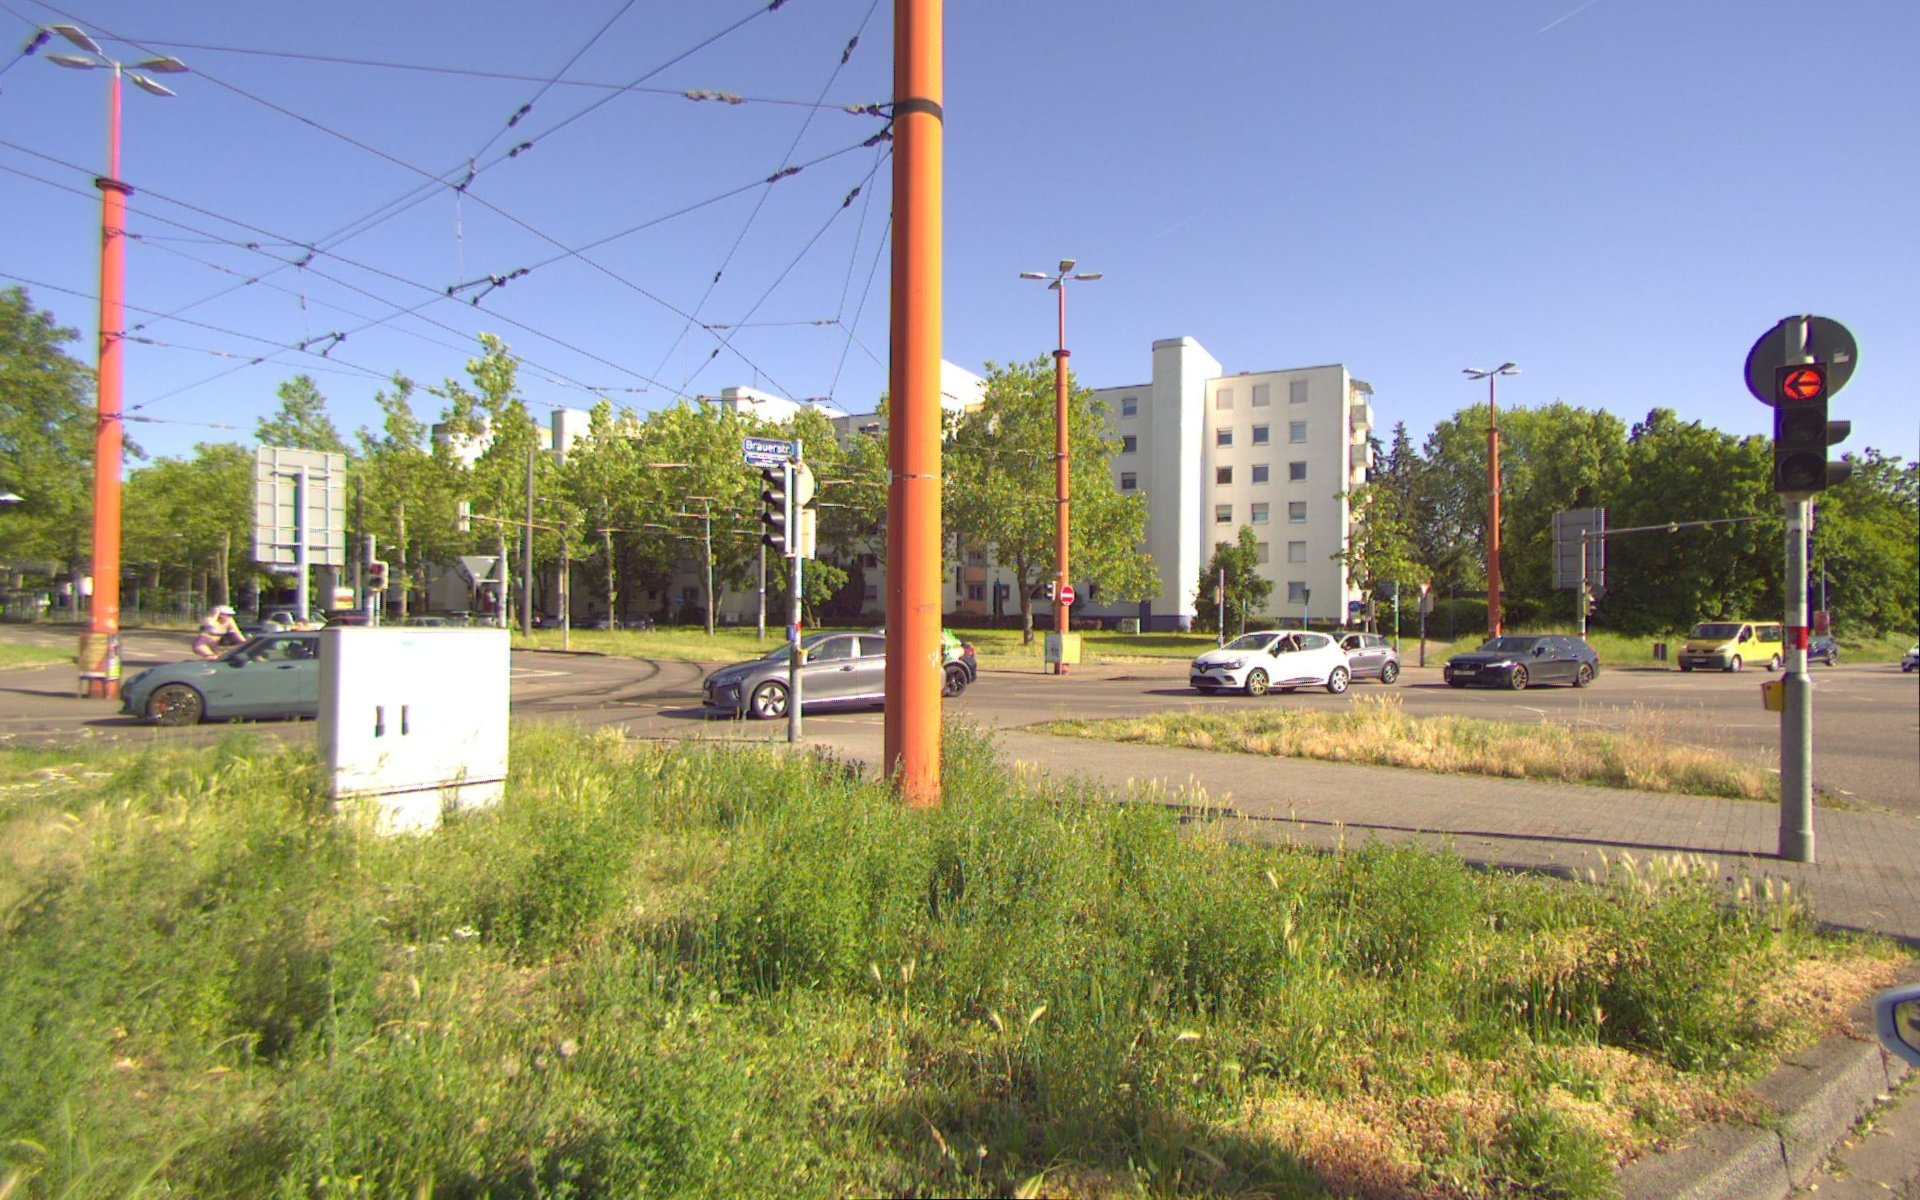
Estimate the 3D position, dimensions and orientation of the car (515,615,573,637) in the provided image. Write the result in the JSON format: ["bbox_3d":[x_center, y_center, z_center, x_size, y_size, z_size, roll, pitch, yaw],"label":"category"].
[{"bbox_3d":[-32.851,2.037,79.416,3.934,1.617,1.890,2,0,-15],"label":"car"}]

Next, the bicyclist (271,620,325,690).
[{"bbox_3d":[-13.142,1.085,19.948,0.686,1.340,0.549,1,0,17],"label":"bicyclist"}]

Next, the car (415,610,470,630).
[{"bbox_3d":[-45.123,1.768,87.635,3.934,1.617,1.890,2,0,-15],"label":"car"}]

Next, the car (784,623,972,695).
[{"bbox_3d":[-1.775,1.276,22.023,3.838,1.452,1.538,2,-3,-29],"label":"car"}]

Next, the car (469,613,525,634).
[{"bbox_3d":[-38.554,1.917,83.777,3.934,1.617,1.890,2,0,-15],"label":"car"}]

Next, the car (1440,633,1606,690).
[{"bbox_3d":[15.069,1.607,26.815,4.737,1.386,1.622,1,-1,-29],"label":"car"}]

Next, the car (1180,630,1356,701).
[{"bbox_3d":[7.081,1.455,23.033,3.901,1.478,1.598,1,-1,-29],"label":"car"}]

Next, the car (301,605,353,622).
[{"bbox_3d":[-63.532,1.372,100.841,3.934,1.617,1.890,2,0,-15],"label":"car"}]

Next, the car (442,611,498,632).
[{"bbox_3d":[-41.754,1.844,85.659,3.934,1.617,1.890,2,0,-15],"label":"car"}]

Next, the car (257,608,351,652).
[{"bbox_3d":[-28.917,1.285,44.268,3.929,1.773,1.909,1,0,31],"label":"car"}]

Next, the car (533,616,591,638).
[{"bbox_3d":[-30.771,2.080,77.772,3.934,1.617,1.890,2,0,-15],"label":"car"}]

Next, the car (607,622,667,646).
[{"bbox_3d":[-23.177,2.458,72.245,3.934,1.617,1.890,2,0,-15],"label":"car"}]

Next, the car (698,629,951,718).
[{"bbox_3d":[-2.361,1.247,17.884,4.211,1.395,1.541,1,-1,-30],"label":"car"}]

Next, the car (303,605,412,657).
[{"bbox_3d":[-24.283,1.218,40.450,4.200,1.926,1.996,1,0,31],"label":"car"}]

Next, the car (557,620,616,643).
[{"bbox_3d":[-28.129,2.350,75.685,3.934,1.617,1.890,2,0,-15],"label":"car"}]

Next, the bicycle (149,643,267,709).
[{"bbox_3d":[-14.183,1.414,18.942,2.313,1.095,0.474,2,0,17],"label":"bicycle"}]

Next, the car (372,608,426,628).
[{"bbox_3d":[-50.989,1.638,91.398,3.934,1.617,1.890,2,0,-15],"label":"car"}]

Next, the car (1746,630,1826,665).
[{"bbox_3d":[42.416,2.443,51.568,3.954,1.660,1.983,2,0,-31],"label":"car"}]

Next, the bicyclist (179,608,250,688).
[{"bbox_3d":[-14.071,0.887,18.972,0.742,1.449,0.752,1,0,16],"label":"bicyclist"}]

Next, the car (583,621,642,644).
[{"bbox_3d":[-25.666,2.406,74.224,3.934,1.617,1.890,2,0,-15],"label":"car"}]

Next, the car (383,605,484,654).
[{"bbox_3d":[-22.912,1.254,43.688,4.200,1.926,1.996,1,0,31],"label":"car"}]

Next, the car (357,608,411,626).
[{"bbox_3d":[-53.661,1.584,93.679,3.934,1.617,1.890,2,0,-15],"label":"car"}]

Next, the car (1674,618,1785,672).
[{"bbox_3d":[30.667,1.778,39.997,4.730,2.013,1.750,2,0,-29],"label":"car"}]

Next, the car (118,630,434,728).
[{"bbox_3d":[-10.923,1.241,16.415,4.088,1.406,1.424,2,0,-28],"label":"car"}]

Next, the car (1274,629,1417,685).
[{"bbox_3d":[11.033,1.583,28.692,3.952,1.484,1.688,1,-1,-30],"label":"car"}]

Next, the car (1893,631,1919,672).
[{"bbox_3d":[40.146,2.143,41.077,3.950,1.617,1.697,2,0,-28],"label":"car"}]

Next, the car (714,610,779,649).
[{"bbox_3d":[-13.836,1.900,65.044,3.934,2.341,1.889,2,0,-15],"label":"car"}]

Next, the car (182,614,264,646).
[{"bbox_3d":[-34.764,1.381,47.350,3.930,1.339,1.732,1,0,31],"label":"car"}]
